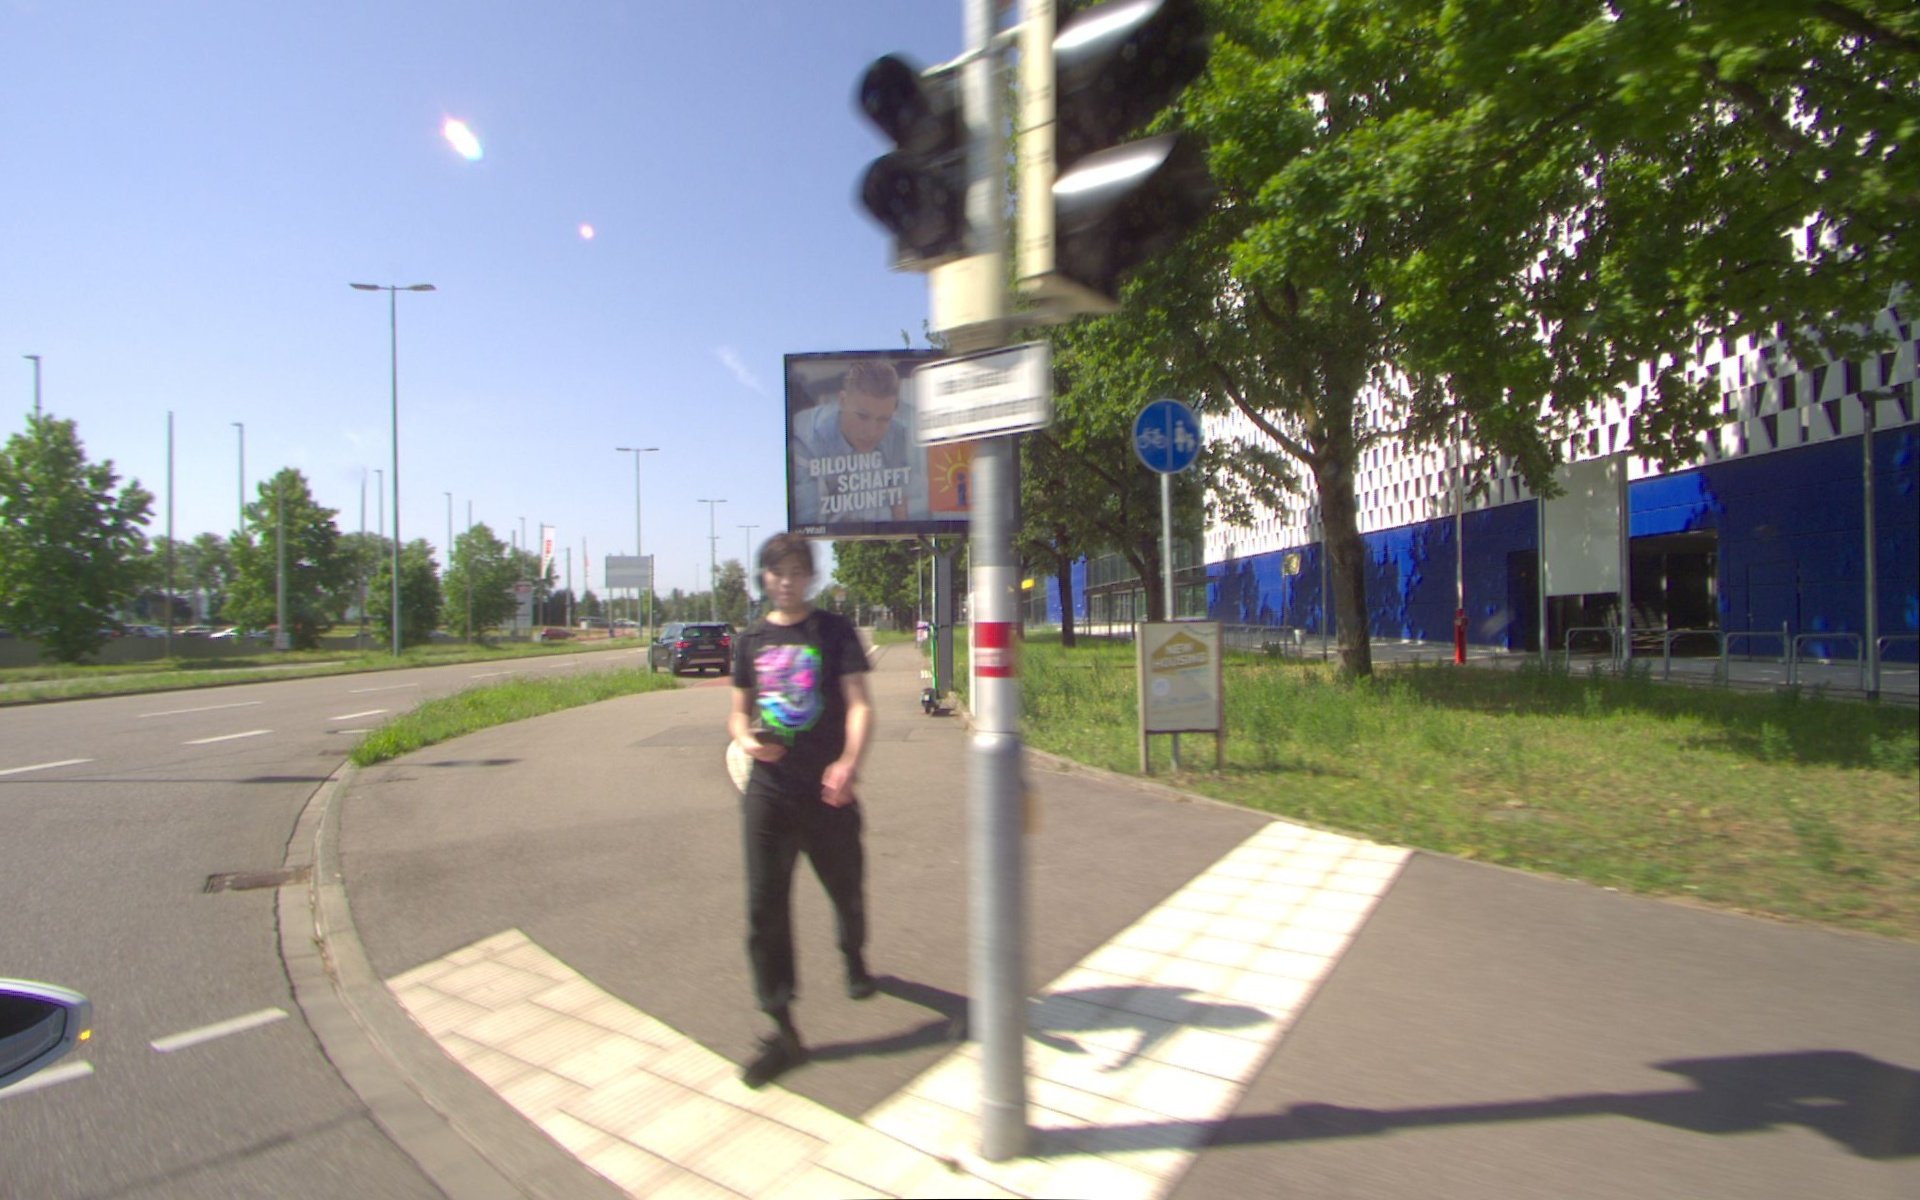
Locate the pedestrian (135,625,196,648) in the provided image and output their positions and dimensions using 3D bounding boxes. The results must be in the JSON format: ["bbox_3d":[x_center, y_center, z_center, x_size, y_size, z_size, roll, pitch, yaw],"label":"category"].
[{"bbox_3d":[-73.744,3.420,92.999,1.968,2.039,3.988,-1,-2,25],"label":"pedestrian"}]

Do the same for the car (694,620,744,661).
[{"bbox_3d":[-10.029,1.659,41.913,1.605,1.518,3.866,0,1,-7],"label":"car"}]

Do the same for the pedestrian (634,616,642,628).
[{"bbox_3d":[-47.639,3.242,148.026,0.826,1.729,0.905,-1,0,7],"label":"pedestrian"}]

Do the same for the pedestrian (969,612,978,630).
[{"bbox_3d":[1.231,1.953,92.106,0.677,1.633,0.771,-1,0,-9],"label":"pedestrian"}]

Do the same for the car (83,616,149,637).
[{"bbox_3d":[-44.287,1.411,52.564,2.473,1.073,1.071,0,-2,-8],"label":"car"}]

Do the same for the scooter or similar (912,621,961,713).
[{"bbox_3d":[-0.305,0.886,13.447,0.395,1.181,1.184,-1,-2,12],"label":"scooter or similar"}]

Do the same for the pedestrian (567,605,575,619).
[{"bbox_3d":[-57.202,1.715,147.266,0.704,1.997,0.918,0,-2,-1],"label":"pedestrian"}]

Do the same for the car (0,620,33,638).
[{"bbox_3d":[-71.655,2.188,74.899,3.038,1.310,1.516,0,-2,-6],"label":"car"}]

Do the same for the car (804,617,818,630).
[{"bbox_3d":[-19.738,3.100,132.653,1.679,1.593,4.173,-1,-1,-7],"label":"car"}]

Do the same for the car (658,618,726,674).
[{"bbox_3d":[-7.928,1.317,29.487,1.647,1.543,3.368,1,-1,-20],"label":"car"}]

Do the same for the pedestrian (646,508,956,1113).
[{"bbox_3d":[-0.513,0.644,3.556,0.694,1.803,0.958,-1,-1,19],"label":"pedestrian"}]

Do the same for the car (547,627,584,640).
[{"bbox_3d":[-50.931,4.391,129.409,4.117,1.626,1.826,0,-2,-10],"label":"car"}]

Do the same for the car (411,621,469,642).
[{"bbox_3d":[-48.096,2.936,92.708,4.342,1.866,1.946,-1,-1,-6],"label":"car"}]
